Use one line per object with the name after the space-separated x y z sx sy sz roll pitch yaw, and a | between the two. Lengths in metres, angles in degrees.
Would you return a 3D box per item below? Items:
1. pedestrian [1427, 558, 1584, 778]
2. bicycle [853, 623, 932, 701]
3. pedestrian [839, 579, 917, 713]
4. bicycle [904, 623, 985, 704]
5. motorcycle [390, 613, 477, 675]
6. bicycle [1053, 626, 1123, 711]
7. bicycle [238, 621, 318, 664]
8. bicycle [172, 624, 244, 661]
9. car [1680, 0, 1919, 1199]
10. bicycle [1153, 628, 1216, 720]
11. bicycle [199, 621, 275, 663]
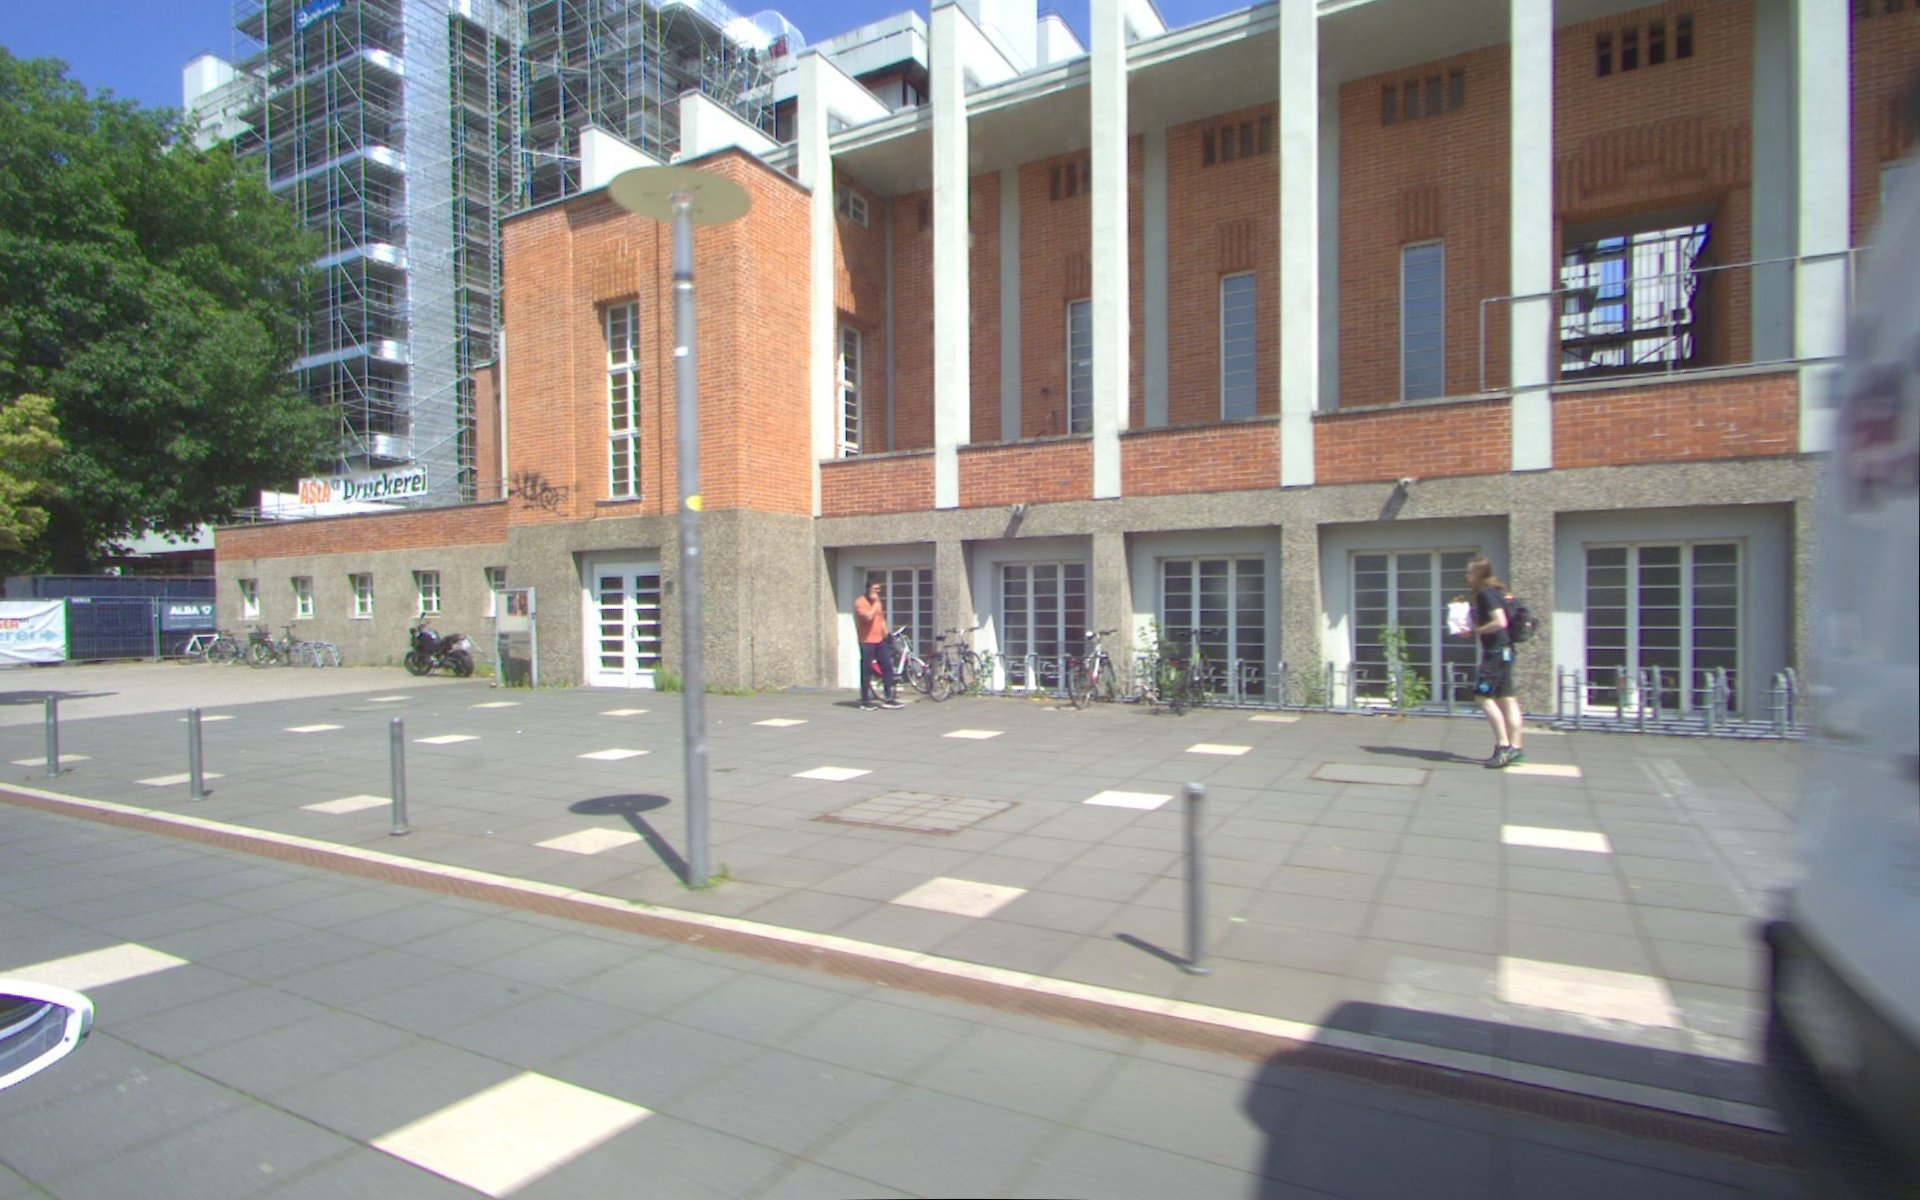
4.895 0.580 9.071 1.177 1.858 0.844 0 0 24 | pedestrian
-1.057 0.960 16.041 0.429 1.165 1.752 0 0 27 | bicycle
-1.171 0.644 14.345 0.892 1.858 0.662 0 0 28 | pedestrian
-0.213 0.955 15.681 0.509 1.165 1.752 0 0 27 | bicycle
-11.761 0.954 22.345 2.188 1.341 0.695 0 0 32 | motorcycle
1.876 0.952 14.491 0.429 1.125 1.746 0 0 27 | bicycle
-18.550 1.141 27.284 0.441 1.124 1.804 0 0 29 | bicycle
-22.221 1.239 29.625 0.441 1.016 1.669 0 0 29 | bicycle
4.035 0.198 0.446 5.758 2.577 2.058 0 0 28 | car
3.061 0.963 13.580 0.429 1.125 1.681 0 0 27 | bicycle
-20.349 1.164 28.219 0.441 1.124 1.699 0 0 29 | bicycle
